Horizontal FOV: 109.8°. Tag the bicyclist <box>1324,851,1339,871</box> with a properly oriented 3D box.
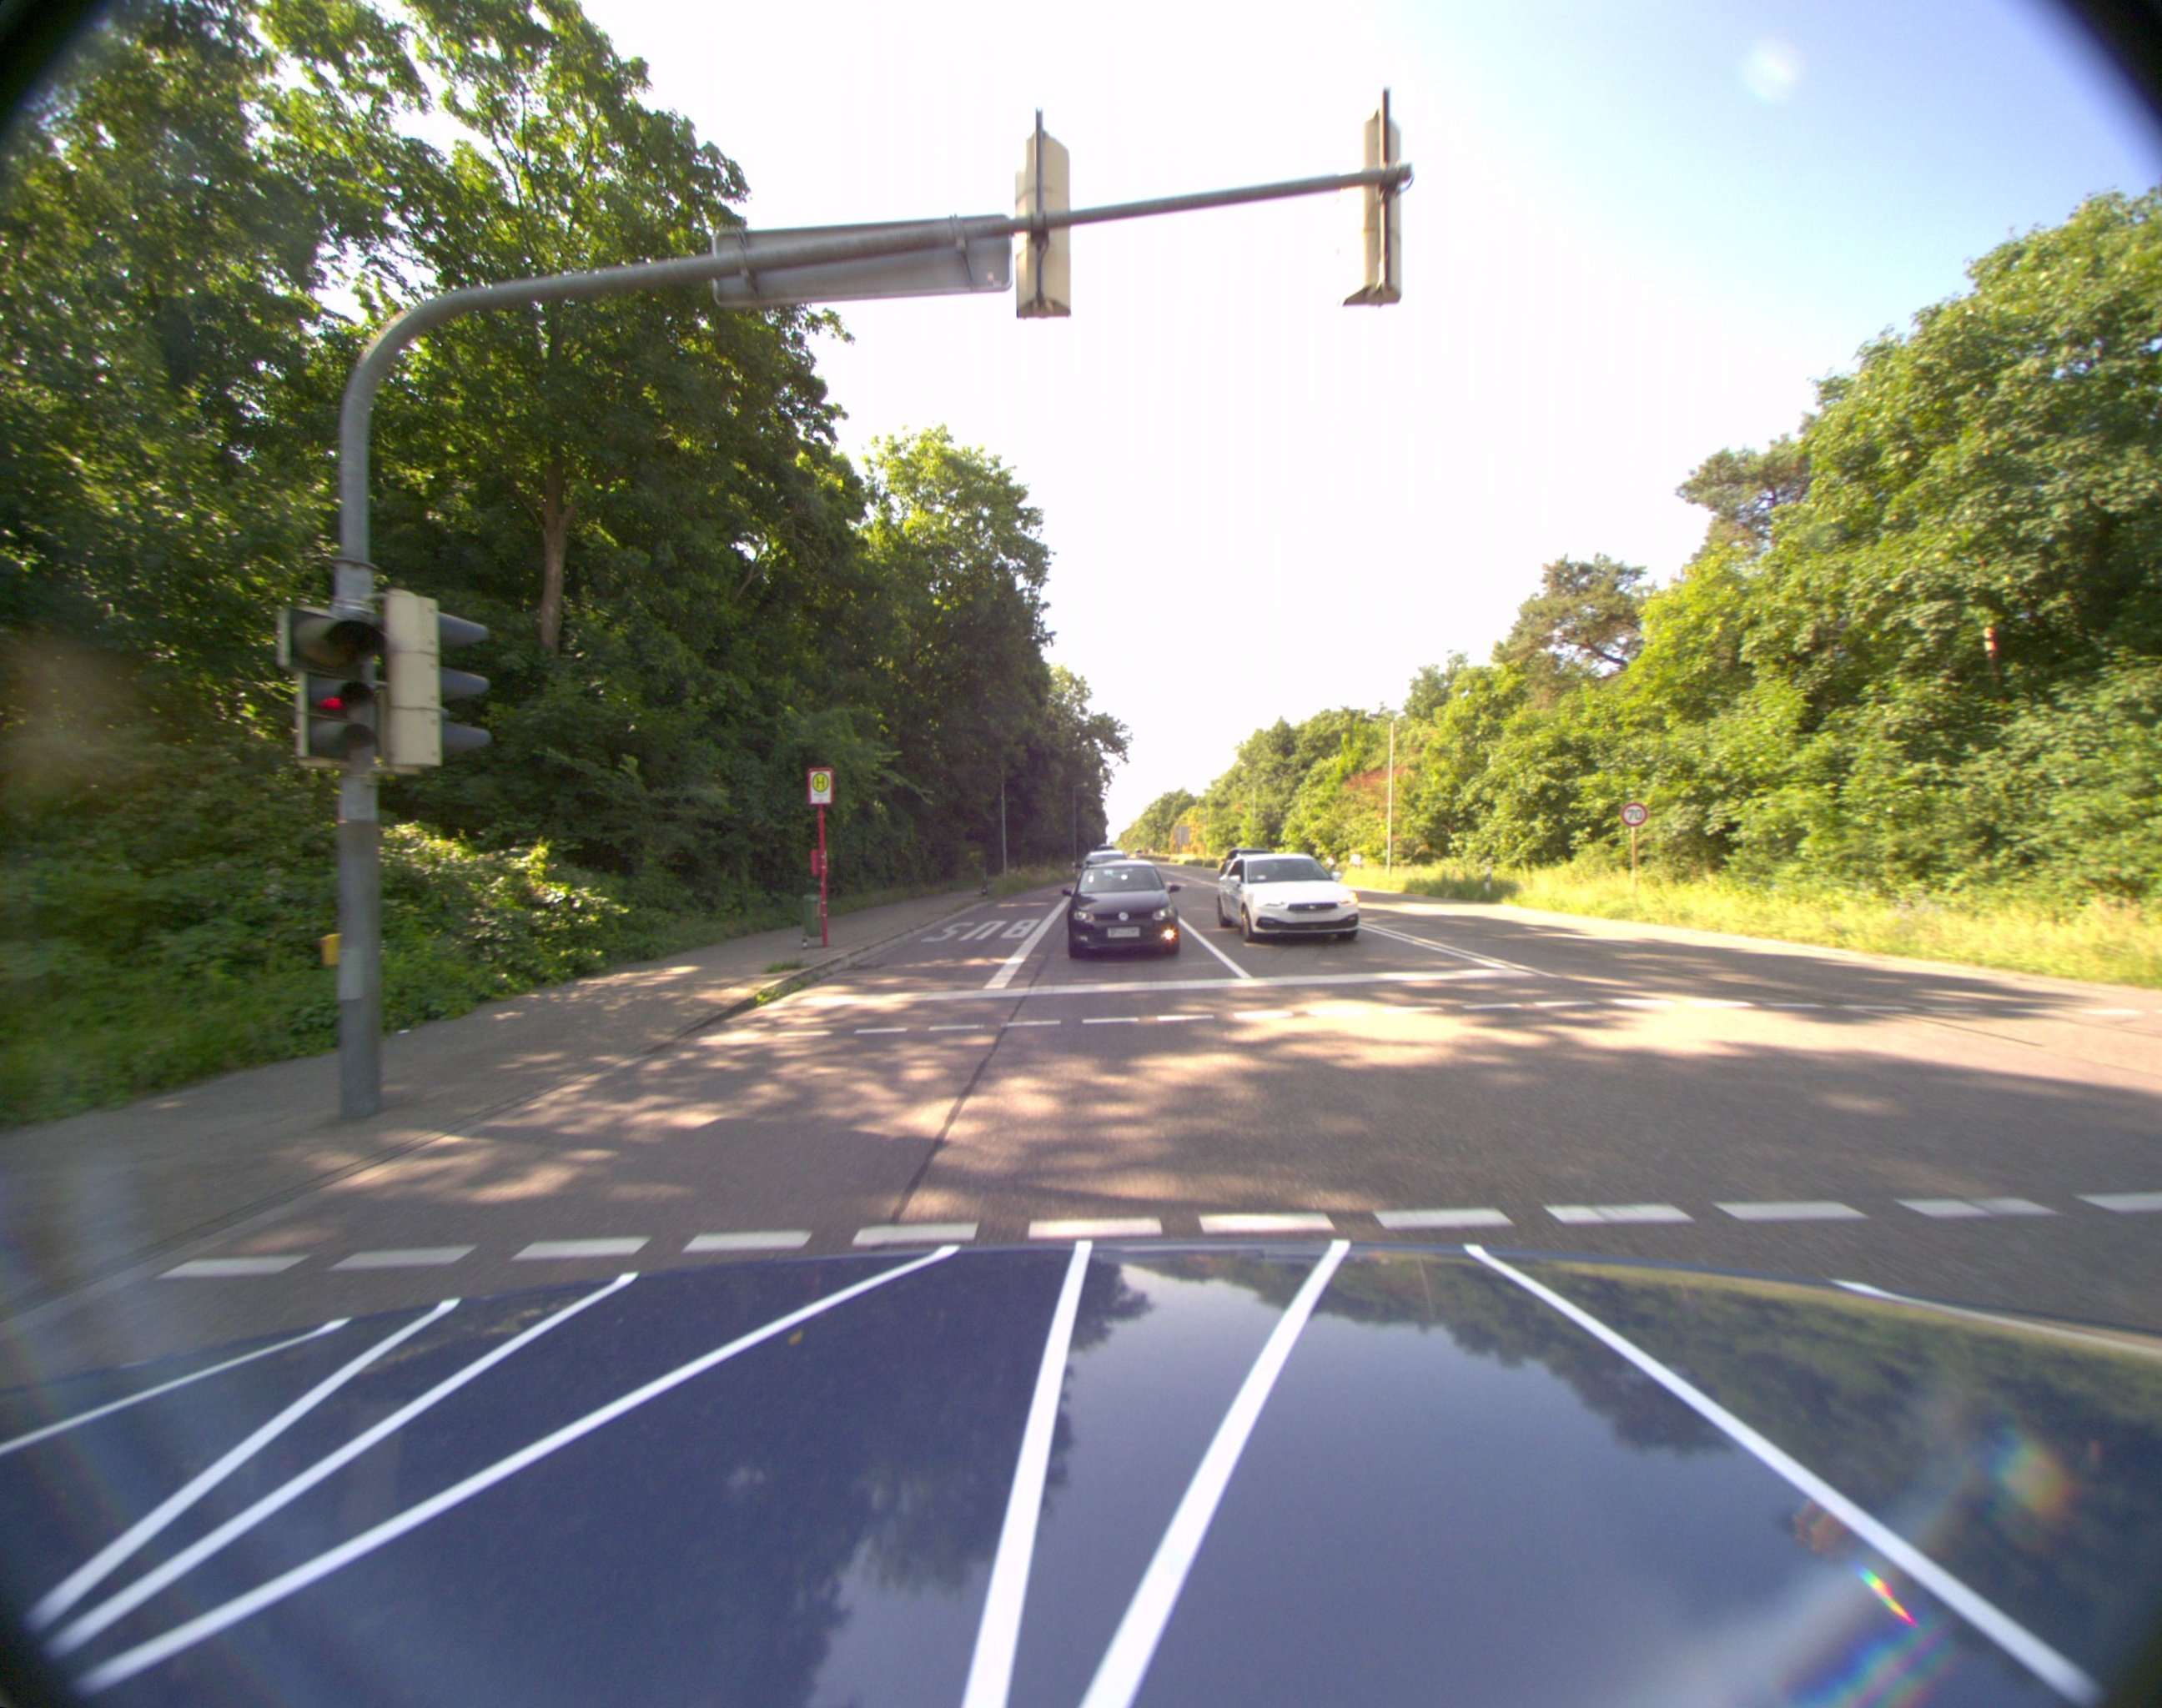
[{"bbox_3d":[16.137,0.427,48.946,0.702,1.256,0.727,-2,1,4],"label":"bicyclist"}]

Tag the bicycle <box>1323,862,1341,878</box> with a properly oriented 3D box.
[{"bbox_3d":[16.169,1.029,48.973,0.605,0.952,2.139,0,0,4],"label":"bicycle"}]

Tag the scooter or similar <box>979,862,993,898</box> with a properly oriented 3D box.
[{"bbox_3d":[-3.562,0.954,28.453,0.401,1.299,1.328,-1,1,-12],"label":"scooter or similar"}]

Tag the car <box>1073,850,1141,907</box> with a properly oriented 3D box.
[{"bbox_3d":[0.961,0.723,25.011,1.812,1.639,4.309,-2,0,7],"label":"car"}]

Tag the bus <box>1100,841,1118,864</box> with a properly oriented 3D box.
[{"bbox_3d":[4.515,-0.319,123.551,2.782,3.437,7.793,-2,1,2],"label":"bus"}]

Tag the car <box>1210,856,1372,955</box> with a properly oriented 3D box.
[{"bbox_3d":[3.536,0.787,13.659,1.788,1.416,4.423,-2,0,2],"label":"car"}]

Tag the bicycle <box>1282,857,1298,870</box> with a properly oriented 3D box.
[{"bbox_3d":[16.630,0.722,60.508,0.676,0.951,1.913,-2,1,-1],"label":"bicycle"}]

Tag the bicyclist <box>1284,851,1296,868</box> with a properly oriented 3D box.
[{"bbox_3d":[16.619,0.434,60.478,0.676,1.335,0.975,-2,1,-1],"label":"bicyclist"}]

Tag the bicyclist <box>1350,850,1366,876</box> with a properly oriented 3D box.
[{"bbox_3d":[16.033,0.504,43.967,0.612,1.458,0.944,-2,1,4],"label":"bicyclist"}]

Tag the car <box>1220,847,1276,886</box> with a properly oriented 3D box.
[{"bbox_3d":[7.740,0.540,35.604,1.795,1.687,4.391,1,1,2],"label":"car"}]

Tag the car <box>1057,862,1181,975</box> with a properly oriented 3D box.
[{"bbox_3d":[0.764,0.922,12.483,1.649,1.422,4.057,-3,0,7],"label":"car"}]

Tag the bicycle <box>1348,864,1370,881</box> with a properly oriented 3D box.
[{"bbox_3d":[16.021,1.035,43.821,0.605,0.909,2.139,0,0,4],"label":"bicycle"}]
